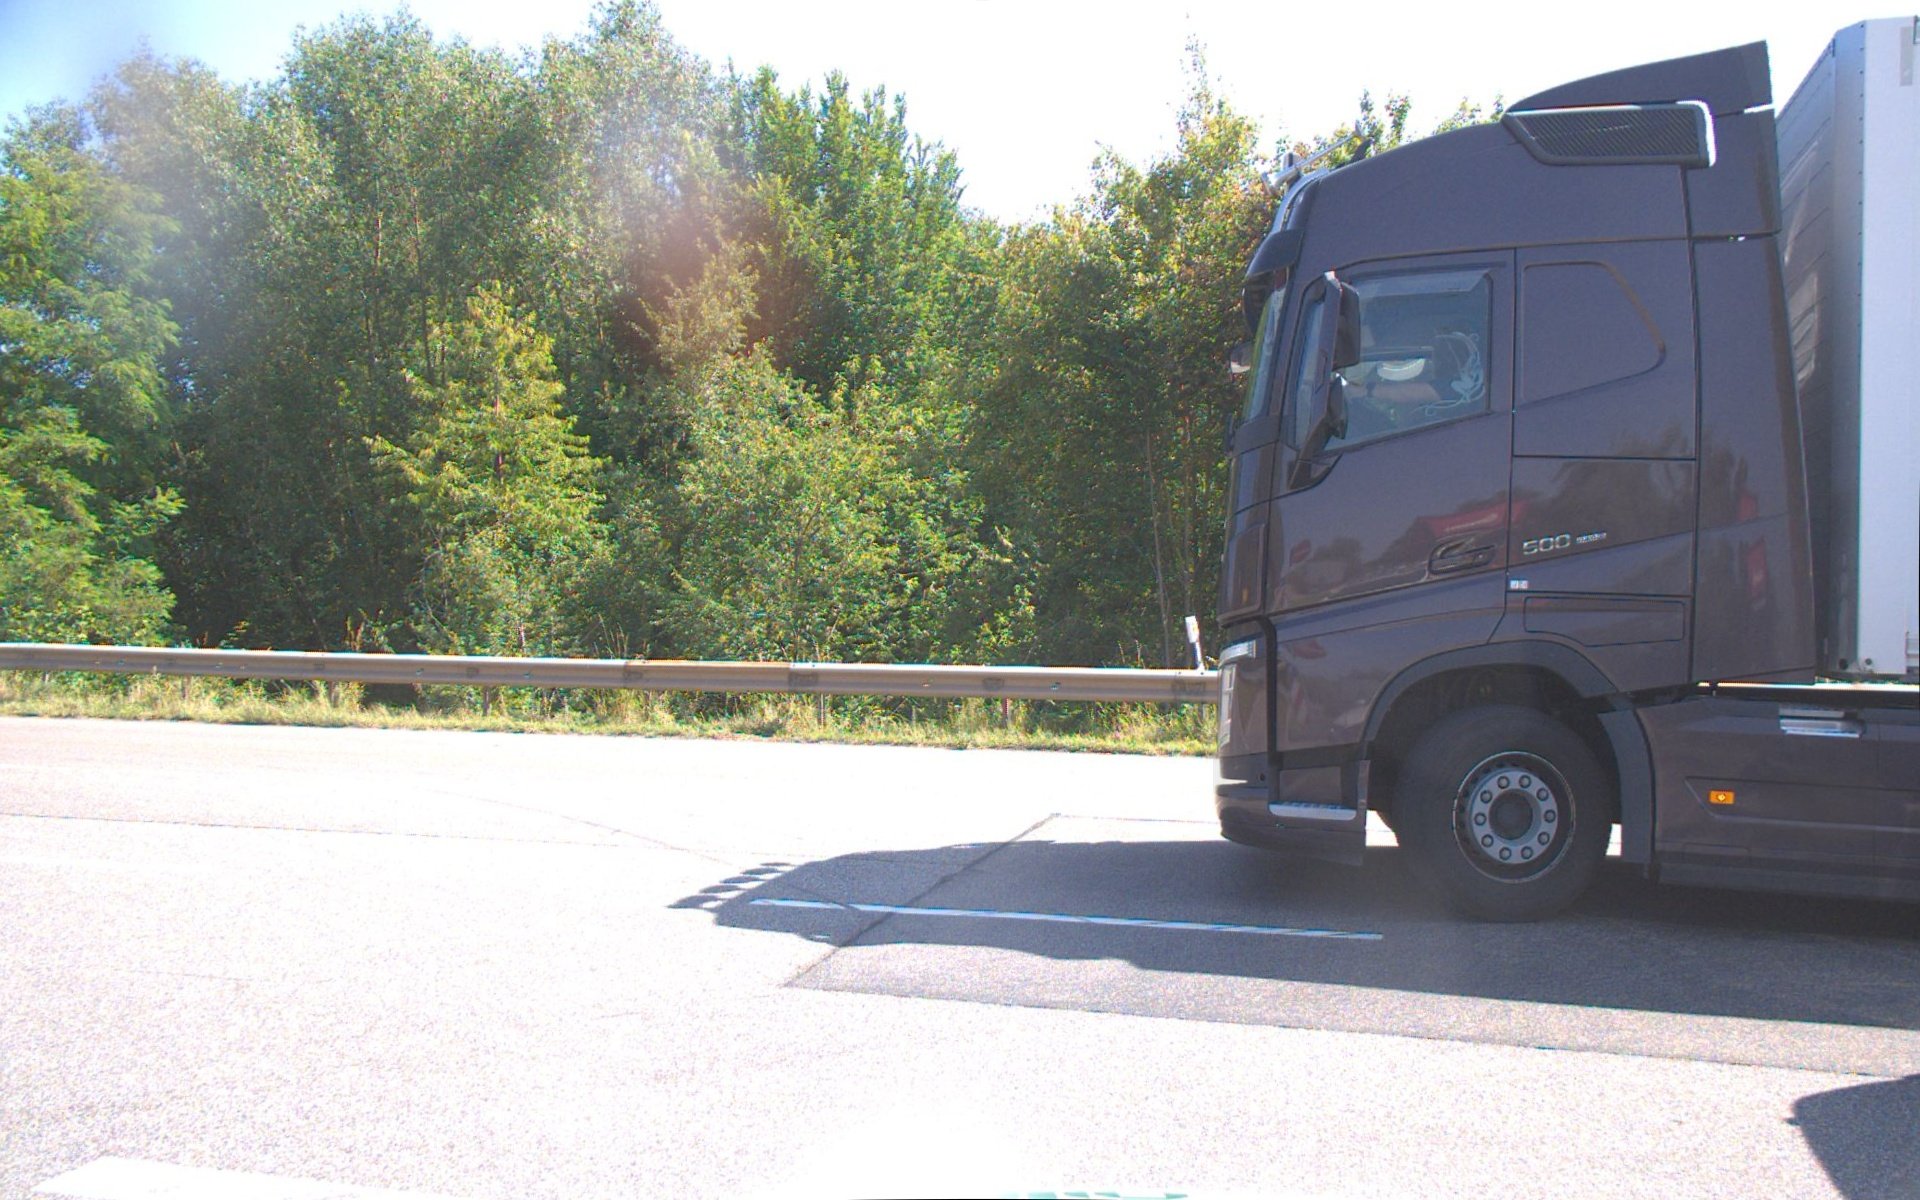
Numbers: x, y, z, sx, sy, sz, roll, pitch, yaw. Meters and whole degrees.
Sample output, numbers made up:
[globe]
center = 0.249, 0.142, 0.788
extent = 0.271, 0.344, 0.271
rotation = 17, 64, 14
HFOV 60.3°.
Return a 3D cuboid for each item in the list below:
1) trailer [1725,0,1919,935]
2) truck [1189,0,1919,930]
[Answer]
[trailer]
center = 10.794, -0.620, 6.694
extent = 13.640, 4.238, 2.898
rotation = 1, 0, 16
[truck]
center = 4.315, -0.718, 8.550
extent = 5.825, 4.246, 2.882
rotation = 1, 0, 16
